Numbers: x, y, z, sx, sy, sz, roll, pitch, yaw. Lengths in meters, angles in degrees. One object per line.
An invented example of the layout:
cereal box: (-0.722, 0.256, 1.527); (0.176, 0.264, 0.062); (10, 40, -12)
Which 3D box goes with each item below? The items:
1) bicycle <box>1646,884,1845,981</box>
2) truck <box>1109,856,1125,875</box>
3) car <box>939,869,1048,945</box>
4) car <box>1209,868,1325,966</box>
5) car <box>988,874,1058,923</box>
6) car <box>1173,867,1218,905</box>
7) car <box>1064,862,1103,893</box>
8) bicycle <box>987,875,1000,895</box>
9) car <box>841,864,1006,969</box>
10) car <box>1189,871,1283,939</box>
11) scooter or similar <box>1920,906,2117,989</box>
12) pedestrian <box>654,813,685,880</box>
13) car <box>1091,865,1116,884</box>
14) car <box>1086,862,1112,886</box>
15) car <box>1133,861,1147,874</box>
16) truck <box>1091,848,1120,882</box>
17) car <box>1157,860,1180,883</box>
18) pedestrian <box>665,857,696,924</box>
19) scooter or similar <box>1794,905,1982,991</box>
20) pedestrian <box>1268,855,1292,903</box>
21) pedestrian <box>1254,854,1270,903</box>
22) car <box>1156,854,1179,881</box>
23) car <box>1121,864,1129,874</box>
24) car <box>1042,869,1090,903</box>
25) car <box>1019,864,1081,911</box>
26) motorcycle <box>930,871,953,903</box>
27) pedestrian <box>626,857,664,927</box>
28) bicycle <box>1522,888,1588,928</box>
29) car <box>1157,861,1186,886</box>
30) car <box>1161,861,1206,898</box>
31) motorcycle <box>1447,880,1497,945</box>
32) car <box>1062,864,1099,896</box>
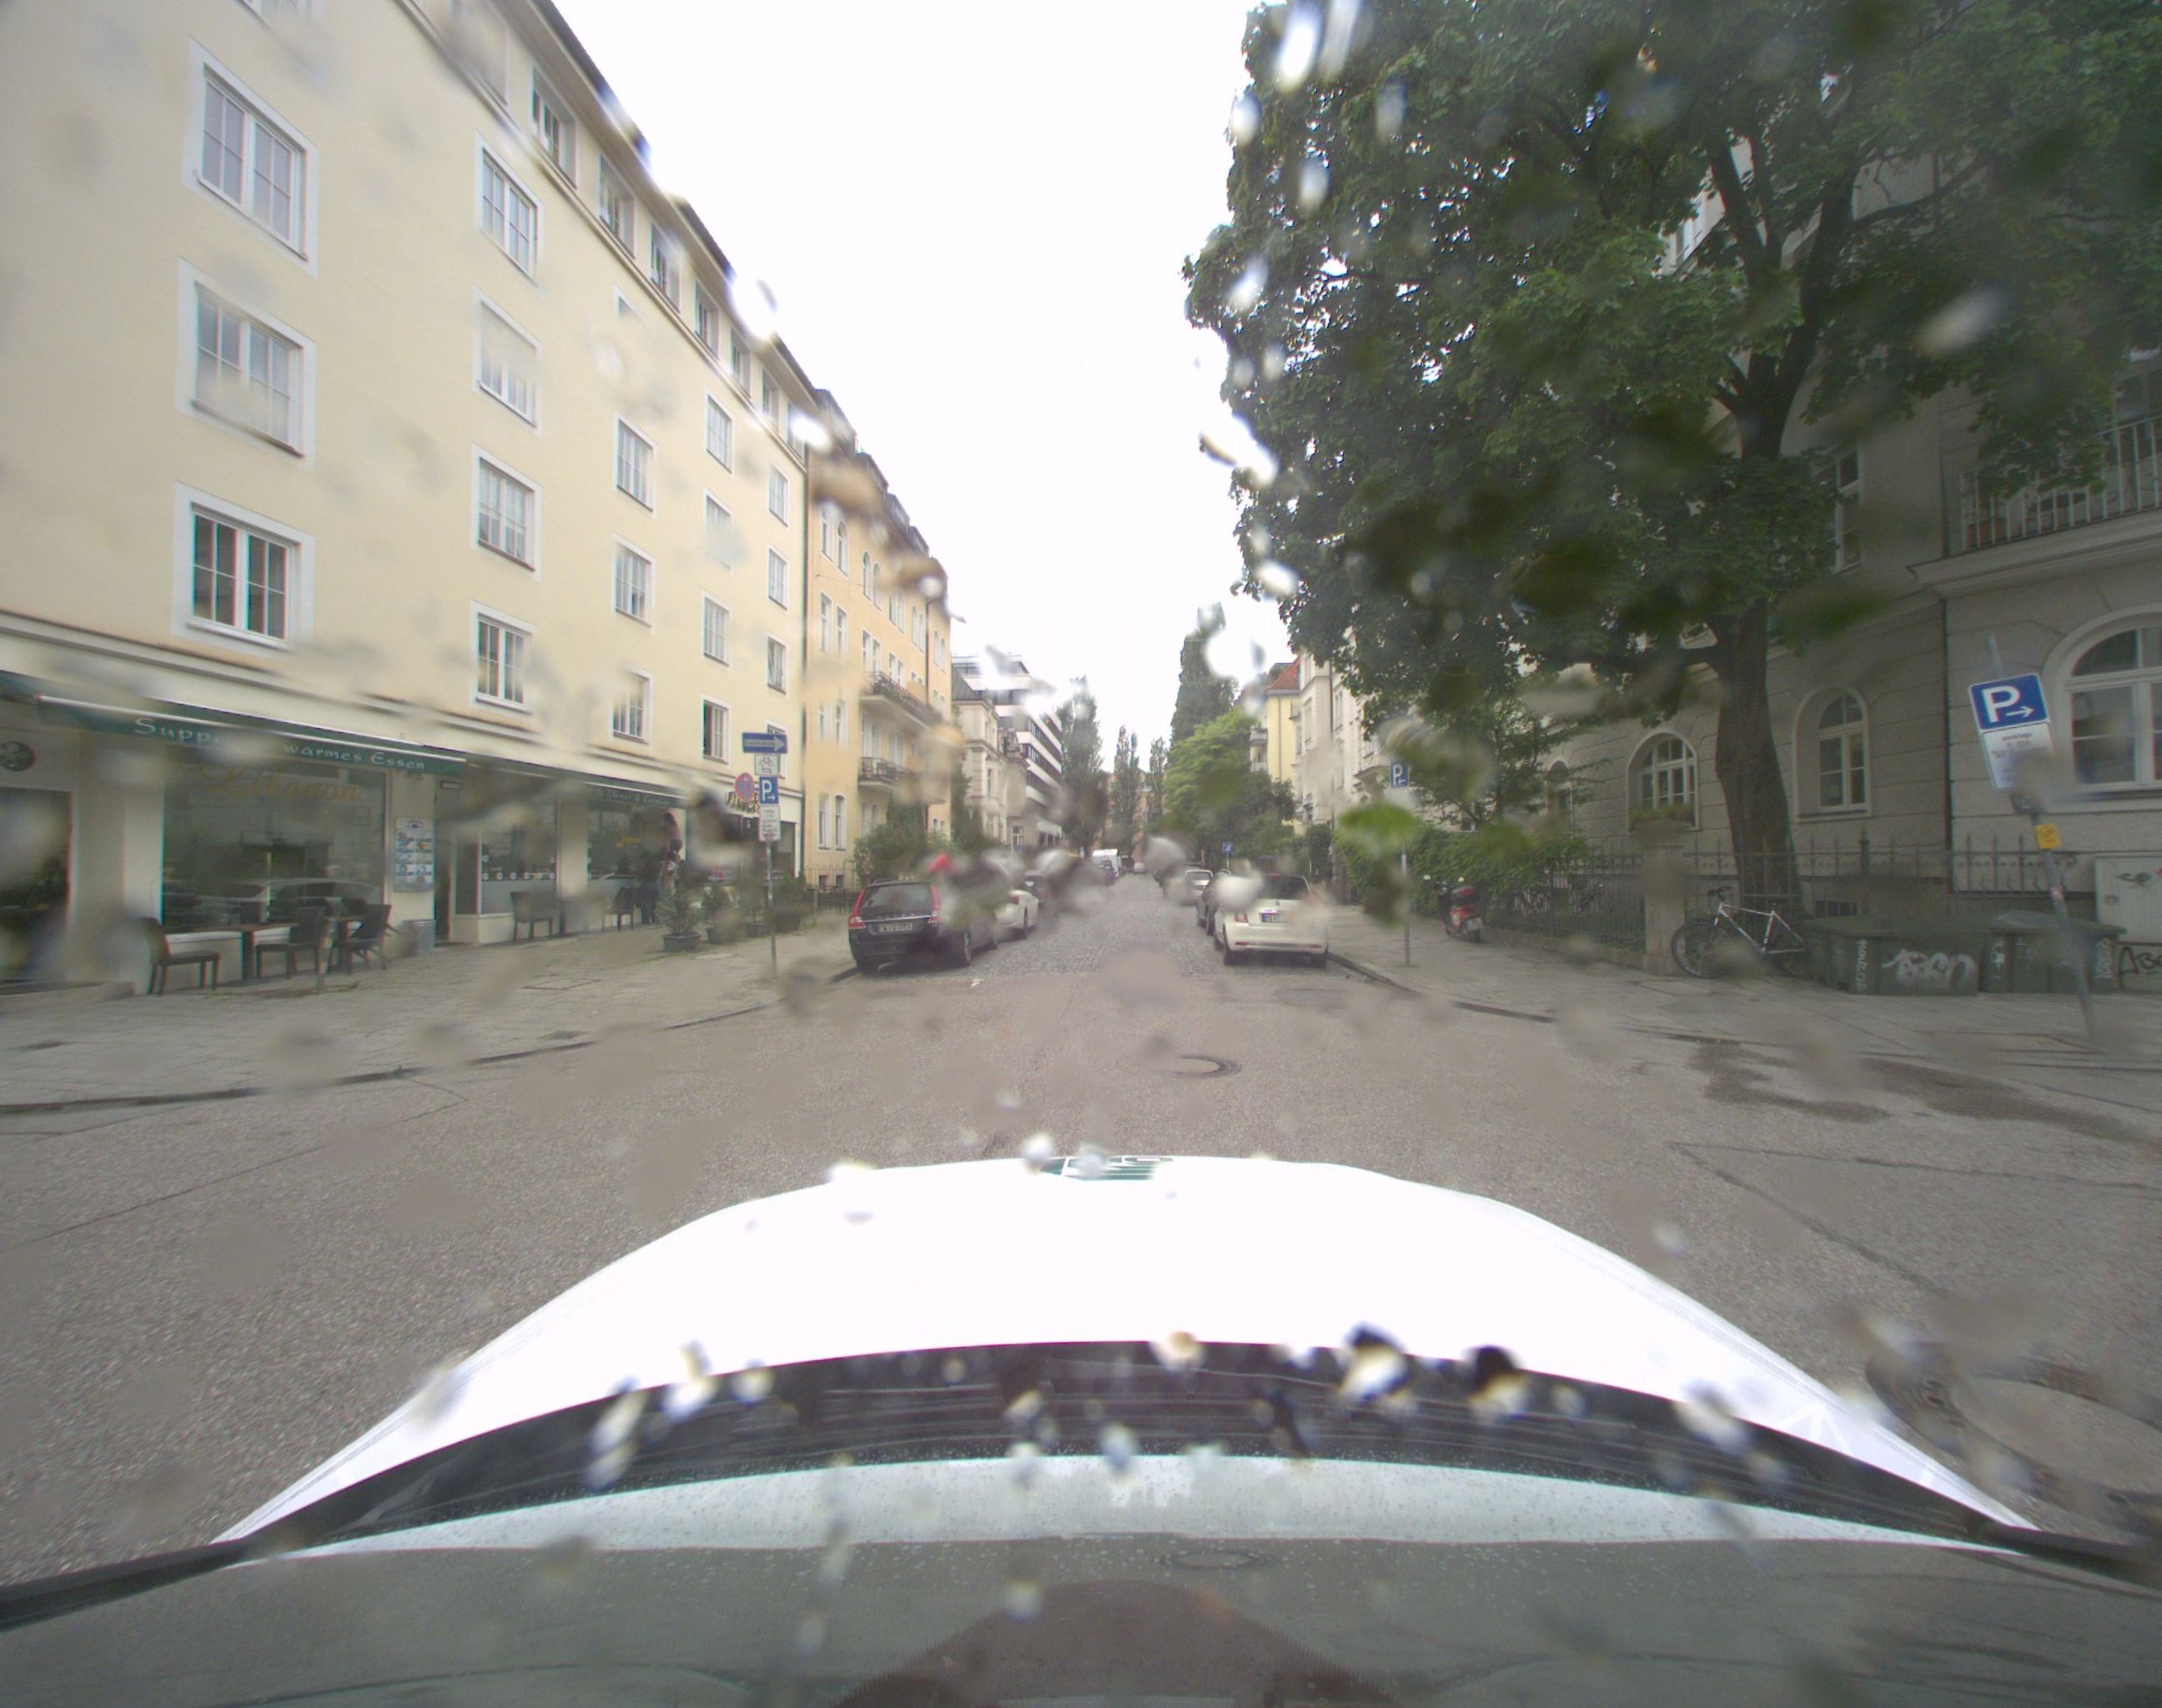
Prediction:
bicycle: (8.178, 0.950, 10.100); (1.824, 1.124, 0.564); (-1, -1, 14)
truck: (4.788, 1.516, 106.691); (1.984, 2.347, 4.072); (0, -1, 4)
car: (-1.969, 1.176, 19.678); (1.766, 1.536, 4.545); (-3, -1, 4)
car: (3.117, 1.002, 14.290); (1.494, 1.471, 3.801); (-1, -1, 5)
car: (-1.673, 1.293, 24.959); (1.767, 1.359, 4.390); (0, -1, 1)
car: (4.831, 1.312, 34.613); (1.623, 1.469, 3.663); (2, -1, 4)
car: (0.186, 1.375, 48.315); (1.973, 1.737, 4.727); (0, -1, 4)
bicycle: (-4.584, 1.602, 42.698); (0.350, 1.003, 1.575); (0, -1, 6)
car: (-2.621, 1.000, 14.790); (1.844, 1.586, 4.751); (0, -1, 3)
car: (3.724, 1.177, 20.284); (1.641, 1.422, 4.636); (3, -1, 3)
scooter or similar: (10.215, 1.001, 8.925); (1.228, 0.826, 0.699); (0, -1, 13)
pedestrian: (-10.314, -0.184, 20.405); (0.474, 1.642, 0.498); (0, -2, 8)
car: (1.848, 1.688, 66.719); (1.932, 1.459, 4.061); (0, -1, 3)
car: (1.404, 1.515, 61.501); (1.766, 1.718, 4.394); (0, -1, 3)
car: (9.129, 2.103, 126.123); (1.986, 1.936, 4.006); (0, -1, 6)
truck: (2.426, 1.066, 78.125); (2.498, 3.032, 6.390); (-2, -1, 3)
car: (7.849, 1.556, 73.342); (1.792, 1.950, 4.864); (2, -1, 4)
pedestrian: (-10.338, 0.939, 21.034); (0.459, 1.690, 0.575); (0, -2, 4)
scooter or similar: (8.952, 1.016, 9.098); (1.174, 0.848, 0.927); (0, -1, 14)
pedestrian: (7.653, 0.951, 31.286); (0.630, 1.808, 0.656); (1, -2, -19)
pedestrian: (6.899, 0.914, 31.012); (0.572, 1.850, 0.684); (-1, -1, 12)
car: (8.368, 1.302, 79.050); (1.887, 2.426, 5.616); (3, 0, 4)
car: (7.222, 2.471, 132.617); (1.271, 1.541, 3.122); (0, -1, 4)
car: (-0.618, 1.402, 36.765); (1.765, 1.429, 4.396); (0, -1, 4)
car: (-1.098, 1.222, 30.935); (1.765, 1.648, 4.397); (0, -1, 5)
motorcycle: (-5.373, 1.248, 31.417); (0.489, 1.194, 1.581); (-1, -1, 4)
pedestrian: (-10.497, 0.905, 19.632); (0.519, 1.642, 0.630); (0, -2, 4)
bicycle: (10.730, 1.191, 18.518); (0.488, 0.812, 2.279); (0, -1, 9)
car: (6.668, 1.442, 60.433); (1.954, 1.759, 4.958); (0, -1, 4)
car: (4.973, 1.224, 40.096); (1.867, 1.673, 5.495); (0, -1, 3)
motorcycle: (6.999, 1.016, 14.628); (0.360, 1.090, 1.406); (0, -1, 7)
car: (0.002, 1.384, 43.483); (1.572, 1.590, 4.061); (-2, -2, 5)
